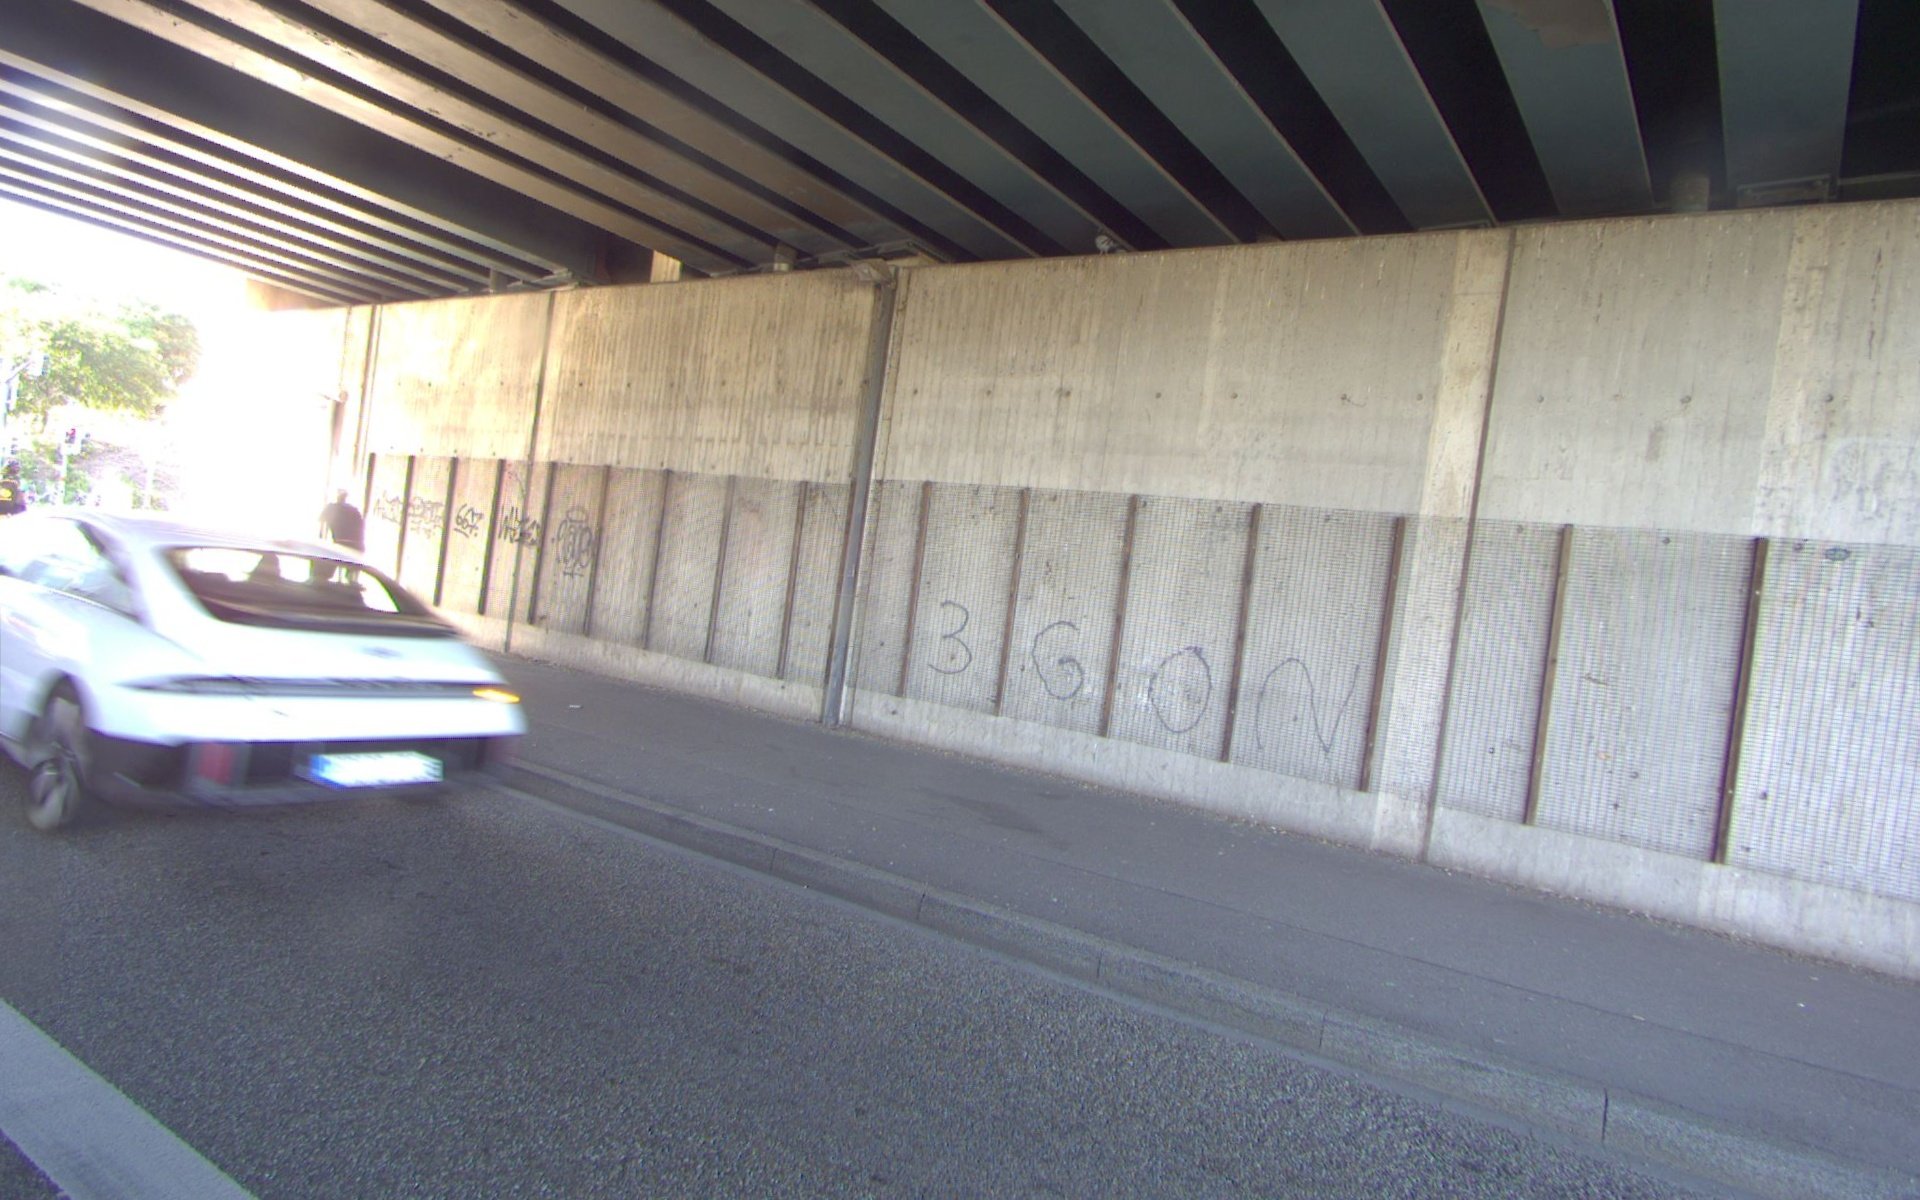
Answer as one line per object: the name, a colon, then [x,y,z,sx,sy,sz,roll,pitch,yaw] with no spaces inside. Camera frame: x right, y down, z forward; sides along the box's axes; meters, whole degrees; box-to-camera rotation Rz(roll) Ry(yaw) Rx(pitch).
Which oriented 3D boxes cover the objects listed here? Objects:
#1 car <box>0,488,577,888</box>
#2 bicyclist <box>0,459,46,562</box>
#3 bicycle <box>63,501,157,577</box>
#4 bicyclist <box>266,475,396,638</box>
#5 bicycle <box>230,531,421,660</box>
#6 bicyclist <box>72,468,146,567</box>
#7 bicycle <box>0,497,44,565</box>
car: [-4.575,0.245,5.873,4.585,1.473,1.750,7,-2,30]
bicyclist: [-16.114,-1.523,17.062,0.635,1.647,0.676,6,-2,42]
bicycle: [-14.589,-1.055,17.254,1.577,1.126,0.682,6,0,31]
bicyclist: [-7.081,-0.484,11.336,0.871,1.674,0.748,7,-1,31]
bicycle: [-7.235,-0.070,11.428,2.428,1.161,0.766,8,3,31]
bicyclist: [-14.652,-1.413,17.317,0.723,1.581,0.670,7,0,32]
bicycle: [-16.087,-1.196,16.995,1.508,1.036,0.676,6,-2,43]
